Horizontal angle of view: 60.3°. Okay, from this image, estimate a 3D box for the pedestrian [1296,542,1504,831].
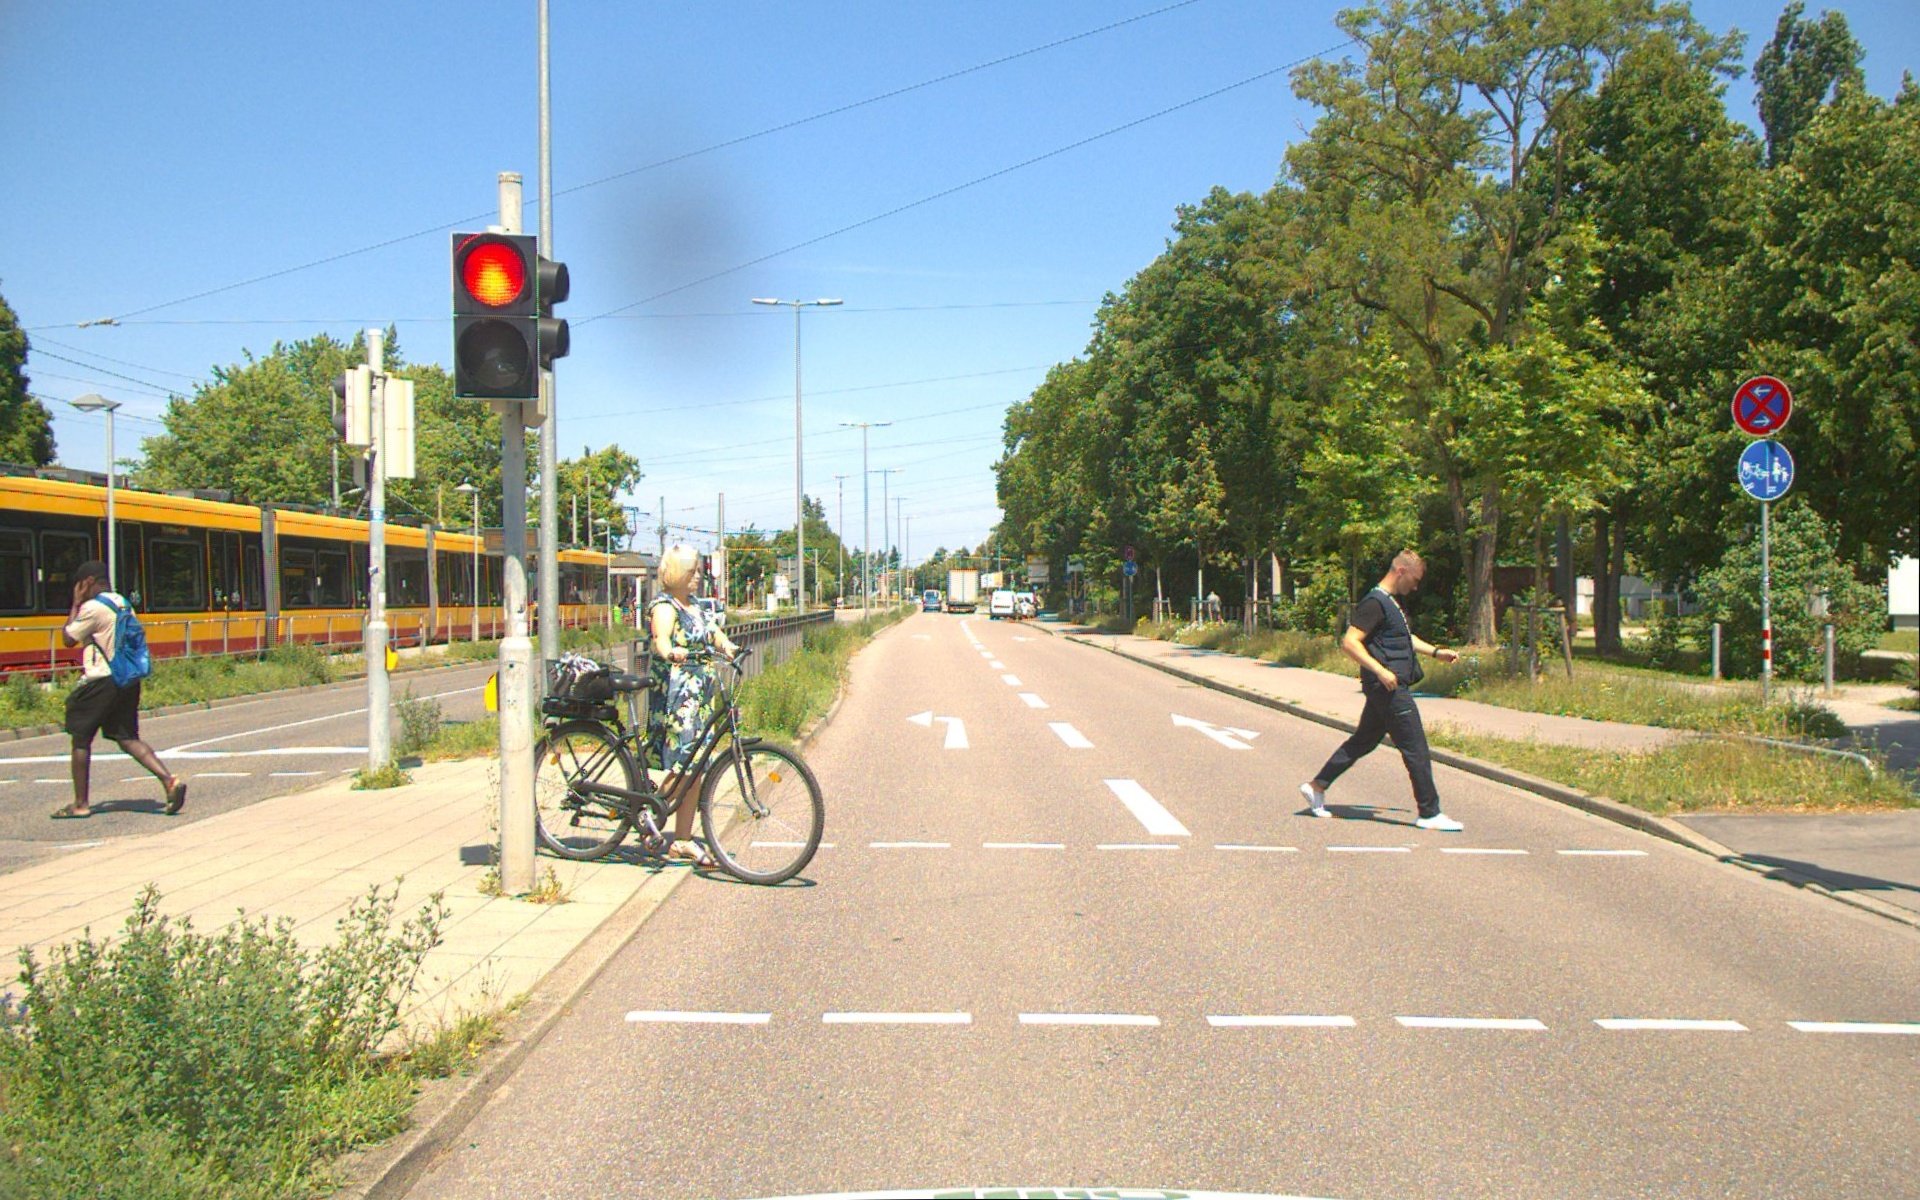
[{"bbox_3d":[2.938,0.547,11.011,1.162,1.809,0.838,0,-2,30],"label":"pedestrian"}]

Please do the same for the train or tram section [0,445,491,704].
[{"bbox_3d":[-15.730,-0.419,36.064,2.897,3.815,30.027,0,0,-1],"label":"train or tram section"}]

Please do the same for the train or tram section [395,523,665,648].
[{"bbox_3d":[-16.188,-0.508,67.538,2.871,3.856,33.081,0,0,-1],"label":"train or tram section"}]

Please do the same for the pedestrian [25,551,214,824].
[{"bbox_3d":[-5.919,0.589,11.690,0.823,1.808,0.720,-4,2,-1],"label":"pedestrian"}]

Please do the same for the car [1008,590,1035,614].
[{"bbox_3d":[4.402,0.105,118.857,1.743,1.698,3.999,0,0,-1],"label":"car"}]

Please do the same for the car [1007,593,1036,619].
[{"bbox_3d":[4.178,0.386,112.506,1.743,1.698,3.999,0,0,-1],"label":"car"}]

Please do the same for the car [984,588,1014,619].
[{"bbox_3d":[2.495,0.209,105.659,1.743,1.937,3.999,0,0,-1],"label":"car"}]

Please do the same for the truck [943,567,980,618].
[{"bbox_3d":[0.066,-0.658,146.125,3.140,4.435,6.559,0,0,-1],"label":"truck"}]

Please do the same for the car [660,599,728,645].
[{"bbox_3d":[-9.306,0.738,58.040,1.807,1.521,3.790,0,0,-1],"label":"car"}]

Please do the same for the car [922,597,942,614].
[{"bbox_3d":[-2.604,0.485,153.689,1.774,1.490,3.999,0,0,-1],"label":"car"}]

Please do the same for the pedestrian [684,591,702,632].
[{"bbox_3d":[-13.469,0.583,83.442,0.798,2.049,0.938,0,0,-1],"label":"pedestrian"}]

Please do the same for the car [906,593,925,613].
[{"bbox_3d":[-4.702,0.313,175.092,1.953,2.049,3.999,0,0,-1],"label":"car"}]

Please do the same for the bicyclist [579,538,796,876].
[{"bbox_3d":[-1.450,0.535,8.849,0.937,1.695,0.581,3,2,17],"label":"bicyclist"}]

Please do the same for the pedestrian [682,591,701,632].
[{"bbox_3d":[-13.746,0.583,84.732,0.798,2.049,0.938,0,0,-1],"label":"pedestrian"}]

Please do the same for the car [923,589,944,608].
[{"bbox_3d":[-2.613,-0.142,163.418,1.953,1.847,3.999,1,0,-1],"label":"car"}]

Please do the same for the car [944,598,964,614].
[{"bbox_3d":[-0.595,0.546,153.603,1.774,1.490,3.999,0,0,-1],"label":"car"}]

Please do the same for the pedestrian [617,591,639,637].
[{"bbox_3d":[-13.852,0.587,69.084,0.769,1.901,0.817,0,0,-1],"label":"pedestrian"}]

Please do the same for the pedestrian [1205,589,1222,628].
[{"bbox_3d":[9.354,0.310,61.096,0.591,1.463,0.556,0,0,6],"label":"pedestrian"}]

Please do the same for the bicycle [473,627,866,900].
[{"bbox_3d":[-1.496,0.794,8.479,1.916,1.181,0.541,3,2,17],"label":"bicycle"}]
